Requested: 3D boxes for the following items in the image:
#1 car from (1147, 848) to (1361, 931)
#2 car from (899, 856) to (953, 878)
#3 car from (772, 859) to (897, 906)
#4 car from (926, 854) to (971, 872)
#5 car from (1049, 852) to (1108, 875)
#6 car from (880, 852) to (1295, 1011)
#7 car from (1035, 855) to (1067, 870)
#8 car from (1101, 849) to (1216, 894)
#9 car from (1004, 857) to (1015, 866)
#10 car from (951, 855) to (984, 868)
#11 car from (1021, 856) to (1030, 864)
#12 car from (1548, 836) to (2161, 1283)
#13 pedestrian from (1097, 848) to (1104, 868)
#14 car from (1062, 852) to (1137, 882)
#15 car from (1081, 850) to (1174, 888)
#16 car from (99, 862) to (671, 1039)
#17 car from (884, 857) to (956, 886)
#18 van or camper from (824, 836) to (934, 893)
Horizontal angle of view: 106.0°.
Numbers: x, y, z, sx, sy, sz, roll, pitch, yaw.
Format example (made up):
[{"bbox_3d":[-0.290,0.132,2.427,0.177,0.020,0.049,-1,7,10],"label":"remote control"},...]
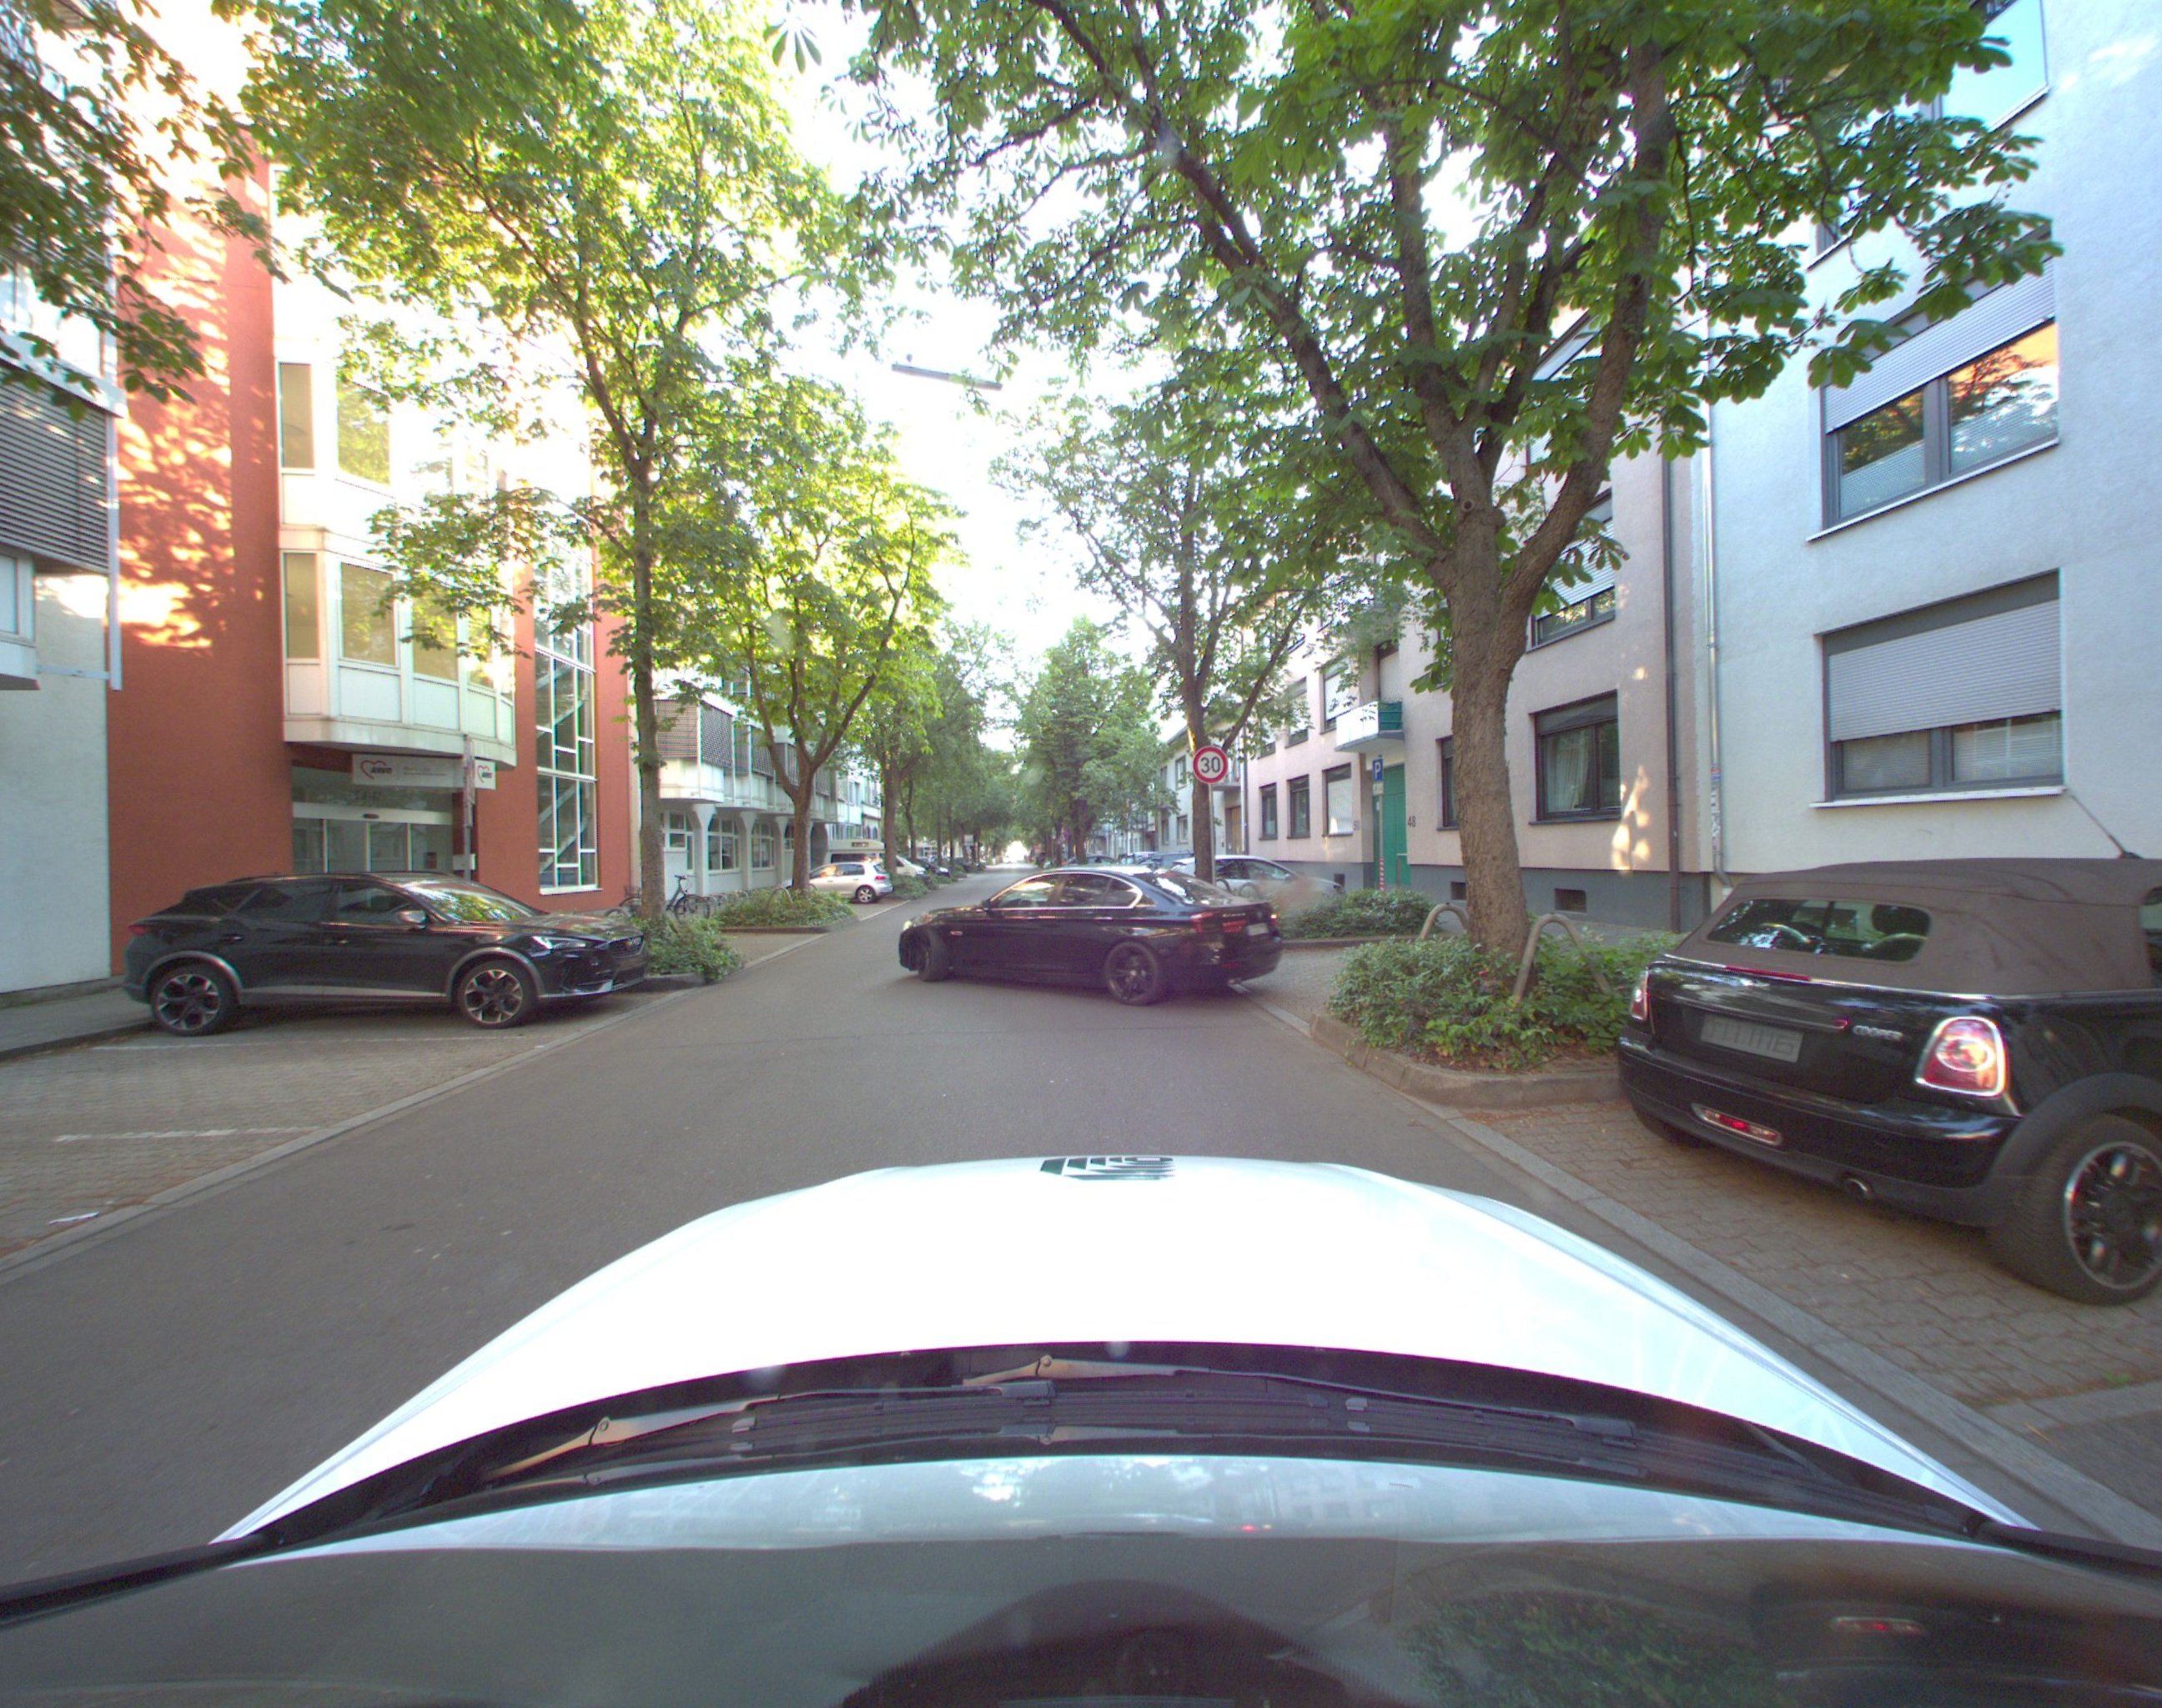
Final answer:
[{"bbox_3d":[3.428,0.668,16.520,3.904,1.476,1.661,-2,0,-7],"label":"car"},{"bbox_3d":[-12.406,1.041,65.369,3.959,1.619,1.783,-2,0,-4],"label":"car"},{"bbox_3d":[-8.859,1.014,29.486,3.960,1.517,1.783,-2,0,-4],"label":"car"},{"bbox_3d":[-12.478,0.831,77.049,3.959,1.619,1.783,-2,0,-4],"label":"car"},{"bbox_3d":[-0.183,0.648,57.388,3.963,1.527,1.781,-2,0,-6],"label":"car"},{"bbox_3d":[-0.062,0.774,9.721,4.699,1.480,1.812,-1,0,34],"label":"car"},{"bbox_3d":[-3.732,1.040,101.455,3.959,1.684,1.783,-2,0,-4],"label":"car"},{"bbox_3d":[2.817,0.620,30.164,3.963,1.476,1.781,-2,0,-7],"label":"car"},{"bbox_3d":[-13.392,1.443,152.409,1.775,1.562,4.162,-1,0,-4],"label":"car"},{"bbox_3d":[-14.449,0.930,103.852,3.959,1.619,1.783,-2,0,-4],"label":"car"},{"bbox_3d":[-10.825,1.186,158.952,1.819,1.530,3.995,-2,0,-4],"label":"car"},{"bbox_3d":[4.335,0.628,3.669,3.608,1.363,1.660,-2,0,-8],"label":"car"},{"bbox_3d":[1.956,0.402,81.646,0.587,2.013,0.669,-1,0,-3],"label":"pedestrian"},{"bbox_3d":[1.007,0.733,45.485,3.962,1.527,1.782,-2,0,-5],"label":"car"},{"bbox_3d":[2.066,0.658,36.643,3.962,1.527,1.782,-2,0,-5],"label":"car"},{"bbox_3d":[-7.035,0.910,8.674,4.347,1.517,1.782,-2,0,-5],"label":"car"},{"bbox_3d":[-9.604,1.020,48.823,3.960,1.619,1.783,-2,0,-4],"label":"car"},{"bbox_3d":[-9.302,0.461,37.819,4.656,2.478,1.997,-1,0,-5],"label":"van or camper"}]
